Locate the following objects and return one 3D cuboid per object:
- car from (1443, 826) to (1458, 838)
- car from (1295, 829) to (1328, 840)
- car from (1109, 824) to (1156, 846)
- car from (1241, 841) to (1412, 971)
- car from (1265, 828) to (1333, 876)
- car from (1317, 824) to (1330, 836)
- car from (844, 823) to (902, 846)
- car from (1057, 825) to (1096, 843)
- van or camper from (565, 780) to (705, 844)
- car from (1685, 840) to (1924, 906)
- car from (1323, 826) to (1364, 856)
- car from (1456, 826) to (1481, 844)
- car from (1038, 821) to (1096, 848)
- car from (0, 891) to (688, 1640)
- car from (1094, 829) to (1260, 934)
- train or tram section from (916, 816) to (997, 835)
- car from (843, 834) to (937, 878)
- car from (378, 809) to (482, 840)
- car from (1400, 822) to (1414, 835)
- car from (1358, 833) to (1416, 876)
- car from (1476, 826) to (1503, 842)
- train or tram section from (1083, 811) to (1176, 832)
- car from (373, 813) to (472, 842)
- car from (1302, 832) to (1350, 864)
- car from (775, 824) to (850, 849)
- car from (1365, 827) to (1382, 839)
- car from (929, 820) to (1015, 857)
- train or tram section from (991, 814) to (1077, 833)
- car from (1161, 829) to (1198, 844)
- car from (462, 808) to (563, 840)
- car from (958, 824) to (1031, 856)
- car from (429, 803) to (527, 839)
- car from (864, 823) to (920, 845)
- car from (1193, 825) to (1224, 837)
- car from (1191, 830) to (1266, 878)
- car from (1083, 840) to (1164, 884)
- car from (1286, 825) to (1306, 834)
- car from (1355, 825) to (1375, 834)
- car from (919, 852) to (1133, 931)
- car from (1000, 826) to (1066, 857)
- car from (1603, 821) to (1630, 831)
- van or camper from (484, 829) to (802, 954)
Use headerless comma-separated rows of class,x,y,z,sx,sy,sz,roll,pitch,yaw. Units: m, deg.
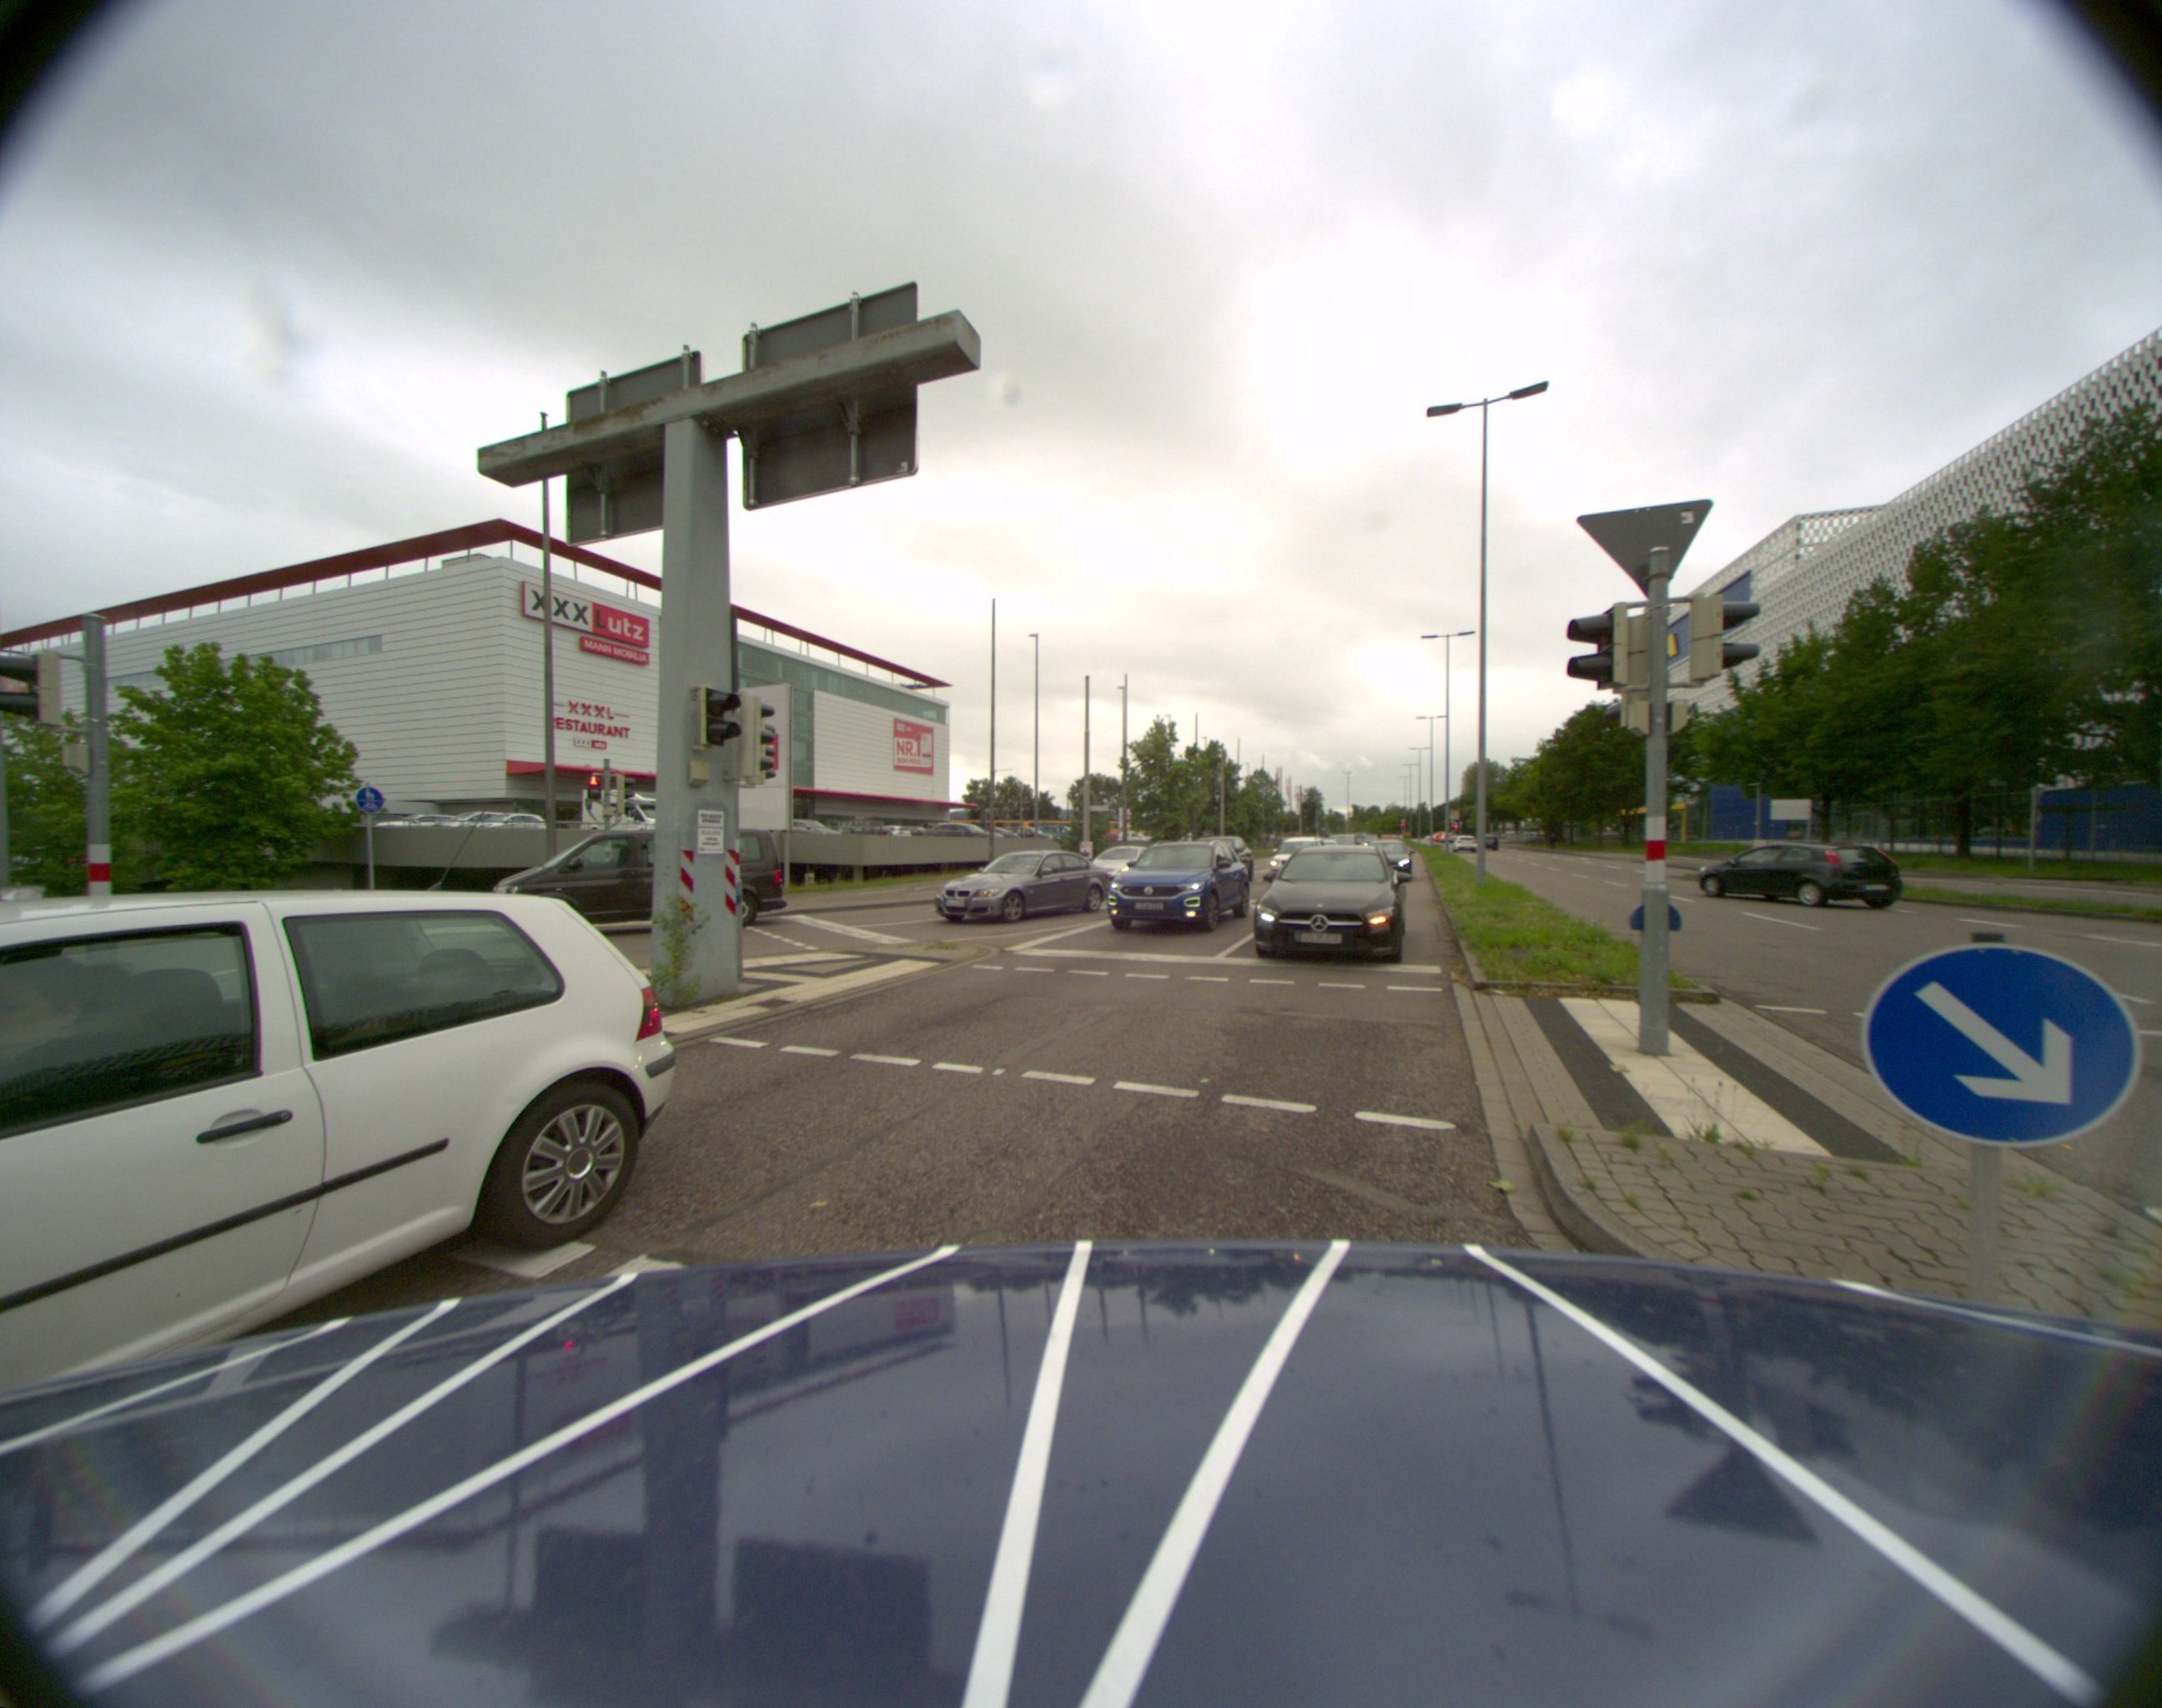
car,61.326,-3.663,126.174,1.844,1.876,3.929,-1,2,21
car,32.200,-2.771,106.264,4.209,1.408,1.805,-1,2,23
car,5.172,-1.910,76.179,4.317,2.002,2.002,-1,2,21
car,3.632,0.556,10.687,1.856,1.426,4.203,-1,1,23
car,8.258,-0.113,28.522,1.795,1.616,4.380,-1,2,24
car,43.978,-4.314,137.734,1.995,2.230,4.005,1,2,20
car,-16.510,-1.564,60.399,3.991,1.729,2.002,-1,2,21
car,-0.475,-2.306,88.302,3.991,2.002,2.002,-1,2,21
van or camper,-24.506,-2.210,41.712,7.219,3.118,2.718,-1,2,23
car,17.010,0.368,18.186,1.726,1.364,3.998,1,1,-3
car,14.839,-0.762,42.811,1.798,1.565,4.224,-1,2,23
car,33.651,-1.650,66.030,1.782,1.444,3.939,2,2,26
car,-1.077,-1.521,59.097,3.991,2.002,2.002,-1,2,21
car,-3.272,0.995,1.789,1.835,1.469,4.008,-1,2,16
car,1.967,0.380,14.198,1.843,1.613,4.338,-1,2,24
train or tram section,-34.441,-7.911,209.968,23.233,4.812,3.637,0,2,20
car,-9.353,0.106,37.339,3.991,2.002,2.002,-1,2,22
car,-38.686,-1.766,45.282,1.773,1.666,4.265,-1,2,23
car,56.964,-4.441,132.921,1.995,2.207,4.005,1,2,20
car,11.035,-0.031,27.293,1.764,1.371,4.264,-1,2,23
car,43.124,-2.153,80.307,1.844,1.646,4.366,3,3,21
train or tram section,12.216,-8.299,193.140,23.233,4.812,3.637,0,2,20
car,-40.975,-1.673,47.414,1.773,1.666,4.265,-1,2,23
car,11.981,-0.332,36.966,1.798,1.408,4.224,-1,2,23
car,-16.566,-1.097,46.918,3.985,1.429,1.872,-1,2,20
car,36.239,-2.643,94.045,1.798,1.408,4.224,-1,2,23
car,-6.386,-0.923,44.740,4.522,2.002,2.002,-1,2,21
train or tram section,-12.637,-8.043,202.099,23.233,4.812,3.637,0,2,20
car,11.825,-2.110,91.350,3.990,1.557,1.799,-1,2,23
car,-32.524,-1.726,43.611,1.773,1.666,4.265,-1,2,23
car,-5.430,-0.888,47.582,3.991,1.838,2.002,-1,2,21
car,-35.742,-1.936,45.161,1.995,2.002,4.005,-1,2,25
car,-15.603,-1.665,62.914,3.991,1.729,2.002,-1,2,21
car,18.086,-3.274,107.665,3.990,1.557,1.799,-1,2,23
car,5.695,-0.067,28.835,1.795,1.616,4.380,-1,2,24
car,1.599,0.243,27.096,1.691,1.364,3.931,-1,2,22
car,54.797,-6.275,193.898,4.663,2.002,2.001,-1,2,13
car,69.530,-5.956,186.069,4.661,2.002,2.002,-1,2,21
car,-0.985,0.699,16.430,1.812,1.403,4.887,-1,0,37
car,-3.307,-0.864,52.473,3.991,2.002,2.002,-1,2,21
car,107.422,-5.685,152.467,3.992,1.806,2.002,-1,2,15
van or camper,-8.263,0.556,14.645,4.952,2.002,2.158,-2,2,-36
